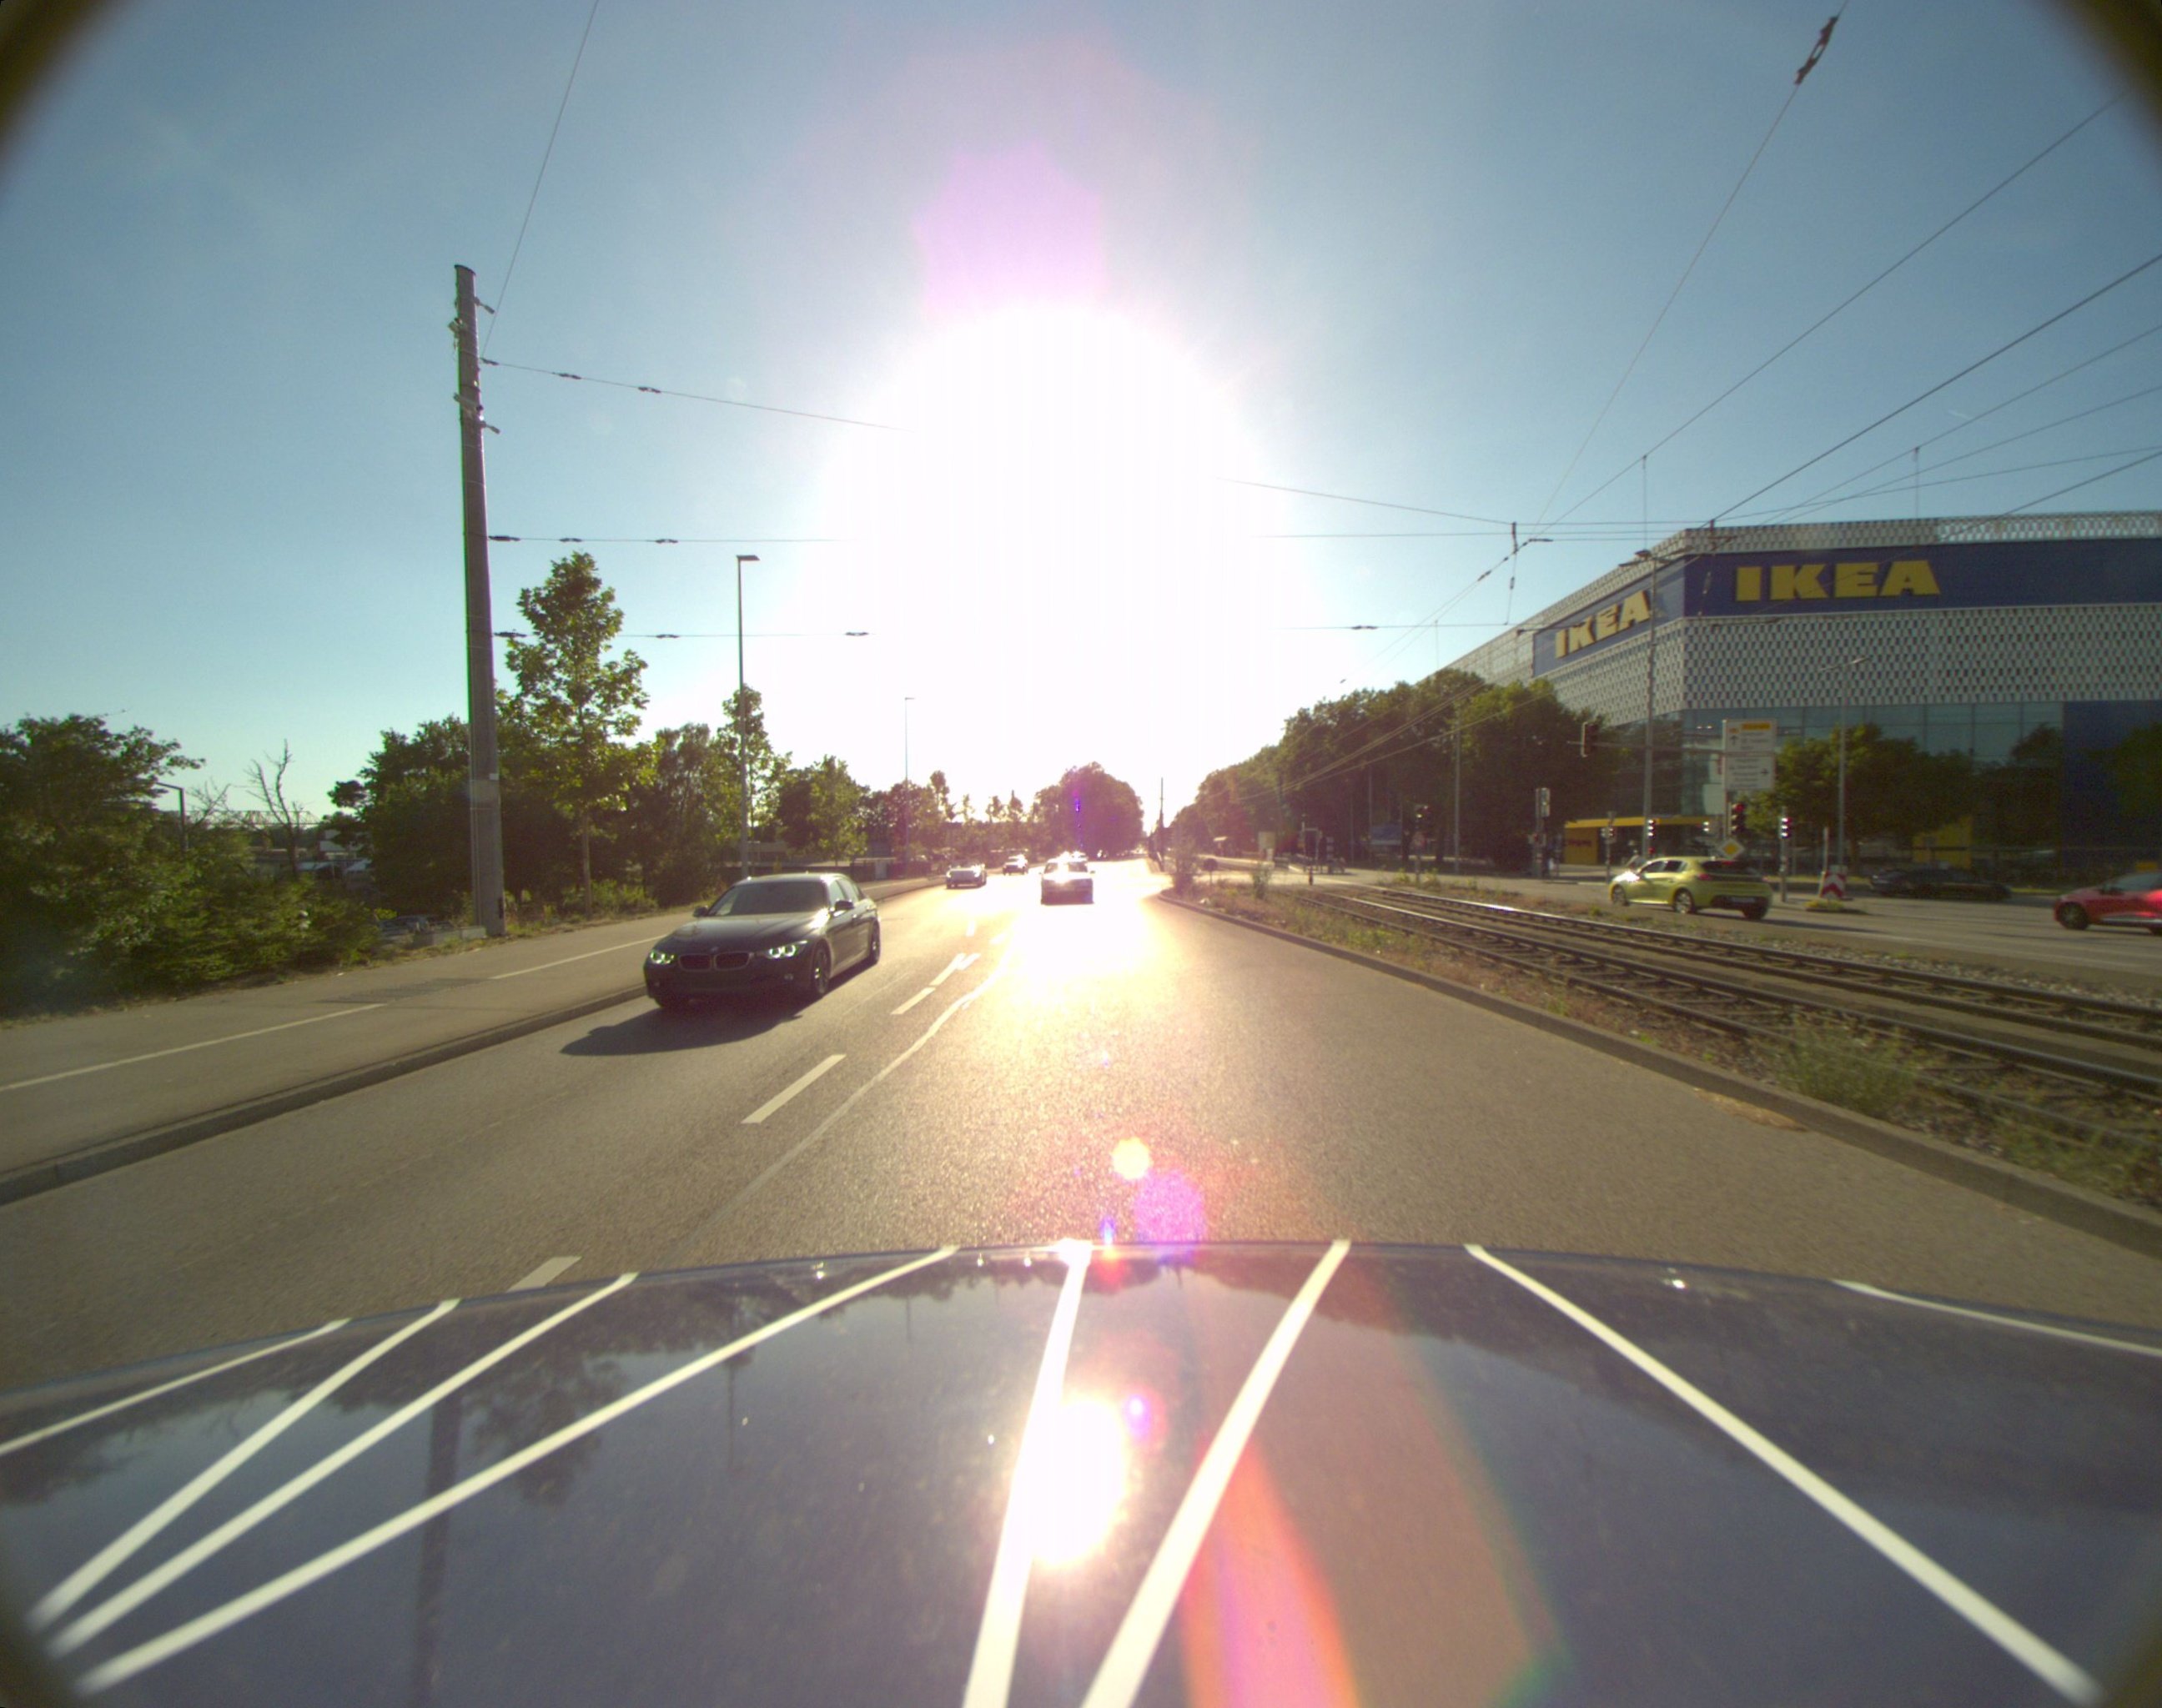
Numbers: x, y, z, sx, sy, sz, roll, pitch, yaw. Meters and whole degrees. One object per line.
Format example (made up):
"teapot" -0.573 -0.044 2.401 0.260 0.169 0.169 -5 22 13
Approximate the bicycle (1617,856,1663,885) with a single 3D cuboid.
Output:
"bicycle" 23.554 0.685 32.054 0.589 1.161 1.992 -1 1 5

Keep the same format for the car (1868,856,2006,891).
"car" 40.418 0.897 35.971 4.086 1.450 1.922 1 2 5

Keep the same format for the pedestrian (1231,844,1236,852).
"pedestrian" 22.449 -0.851 111.612 0.603 1.217 0.617 -2 1 8

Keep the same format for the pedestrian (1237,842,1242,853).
"pedestrian" 22.782 -0.921 108.931 0.603 1.611 0.691 -2 1 8

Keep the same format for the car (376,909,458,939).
"car" -41.626 4.380 47.690 3.701 1.492 1.680 -3 1 3

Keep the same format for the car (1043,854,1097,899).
"car" -0.333 0.772 27.939 1.602 1.440 3.800 -2 1 5

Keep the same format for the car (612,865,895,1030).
"car" -3.860 0.974 9.973 1.871 1.459 4.584 -2 1 -3

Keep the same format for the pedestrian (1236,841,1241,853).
"pedestrian" 22.891 -1.015 110.358 0.652 1.611 0.635 -2 1 8

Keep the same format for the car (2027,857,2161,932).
"car" 23.191 0.874 16.018 1.937 1.468 4.136 2 2 15

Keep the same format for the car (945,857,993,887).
"car" -5.916 0.898 40.461 1.856 1.415 3.980 -2 1 1

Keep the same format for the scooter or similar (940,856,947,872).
"scooter or similar" -10.913 0.807 60.396 0.525 1.224 1.265 -1 1 -9

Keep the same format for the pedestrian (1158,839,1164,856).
"pedestrian" 7.801 -0.650 73.906 0.535 1.648 0.751 -3 2 7

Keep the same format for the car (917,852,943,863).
"car" -26.031 0.559 130.637 4.029 1.577 1.685 -3 1 1

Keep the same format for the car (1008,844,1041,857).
"car" -9.830 -0.605 131.620 5.349 2.010 2.104 -3 1 3

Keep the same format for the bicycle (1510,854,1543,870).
"bicycle" 34.186 0.632 58.290 2.279 1.211 0.714 0 1 -9

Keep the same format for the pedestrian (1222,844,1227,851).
"pedestrian" 23.537 -1.055 124.392 0.679 1.156 0.624 -1 1 2

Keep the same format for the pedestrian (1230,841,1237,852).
"pedestrian" 22.761 -1.119 113.377 0.733 1.682 0.687 -3 1 -5

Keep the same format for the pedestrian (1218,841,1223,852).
"pedestrian" 21.927 -1.163 119.684 0.661 1.623 0.777 -2 1 6

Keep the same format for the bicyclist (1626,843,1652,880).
"bicyclist" 23.549 0.307 32.082 0.589 1.514 0.751 -1 1 5

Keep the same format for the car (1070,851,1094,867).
"car" 0.085 0.458 73.715 1.870 1.422 3.832 -3 1 6

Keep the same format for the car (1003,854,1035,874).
"car" -5.020 0.787 61.676 1.740 1.502 4.002 -2 1 7

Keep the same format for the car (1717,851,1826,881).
"car" 40.368 0.690 44.501 4.251 1.489 2.017 2 2 9

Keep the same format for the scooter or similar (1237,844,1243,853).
"scooter or similar" 22.303 -0.715 106.523 0.665 1.228 1.372 -1 1 4

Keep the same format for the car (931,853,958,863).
"car" -25.264 0.682 140.628 4.660 1.560 1.859 -3 1 2

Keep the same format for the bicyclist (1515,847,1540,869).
"bicyclist" 34.244 0.291 58.289 1.486 1.608 0.822 0 1 -9

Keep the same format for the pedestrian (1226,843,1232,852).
"pedestrian" 22.854 -1.019 117.211 0.654 1.245 0.685 -3 1 2

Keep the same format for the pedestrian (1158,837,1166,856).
"pedestrian" 8.041 -0.745 75.586 0.708 1.765 0.535 -3 2 9

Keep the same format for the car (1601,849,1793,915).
"car" 15.420 0.627 19.361 1.787 1.439 4.109 1 1 5
